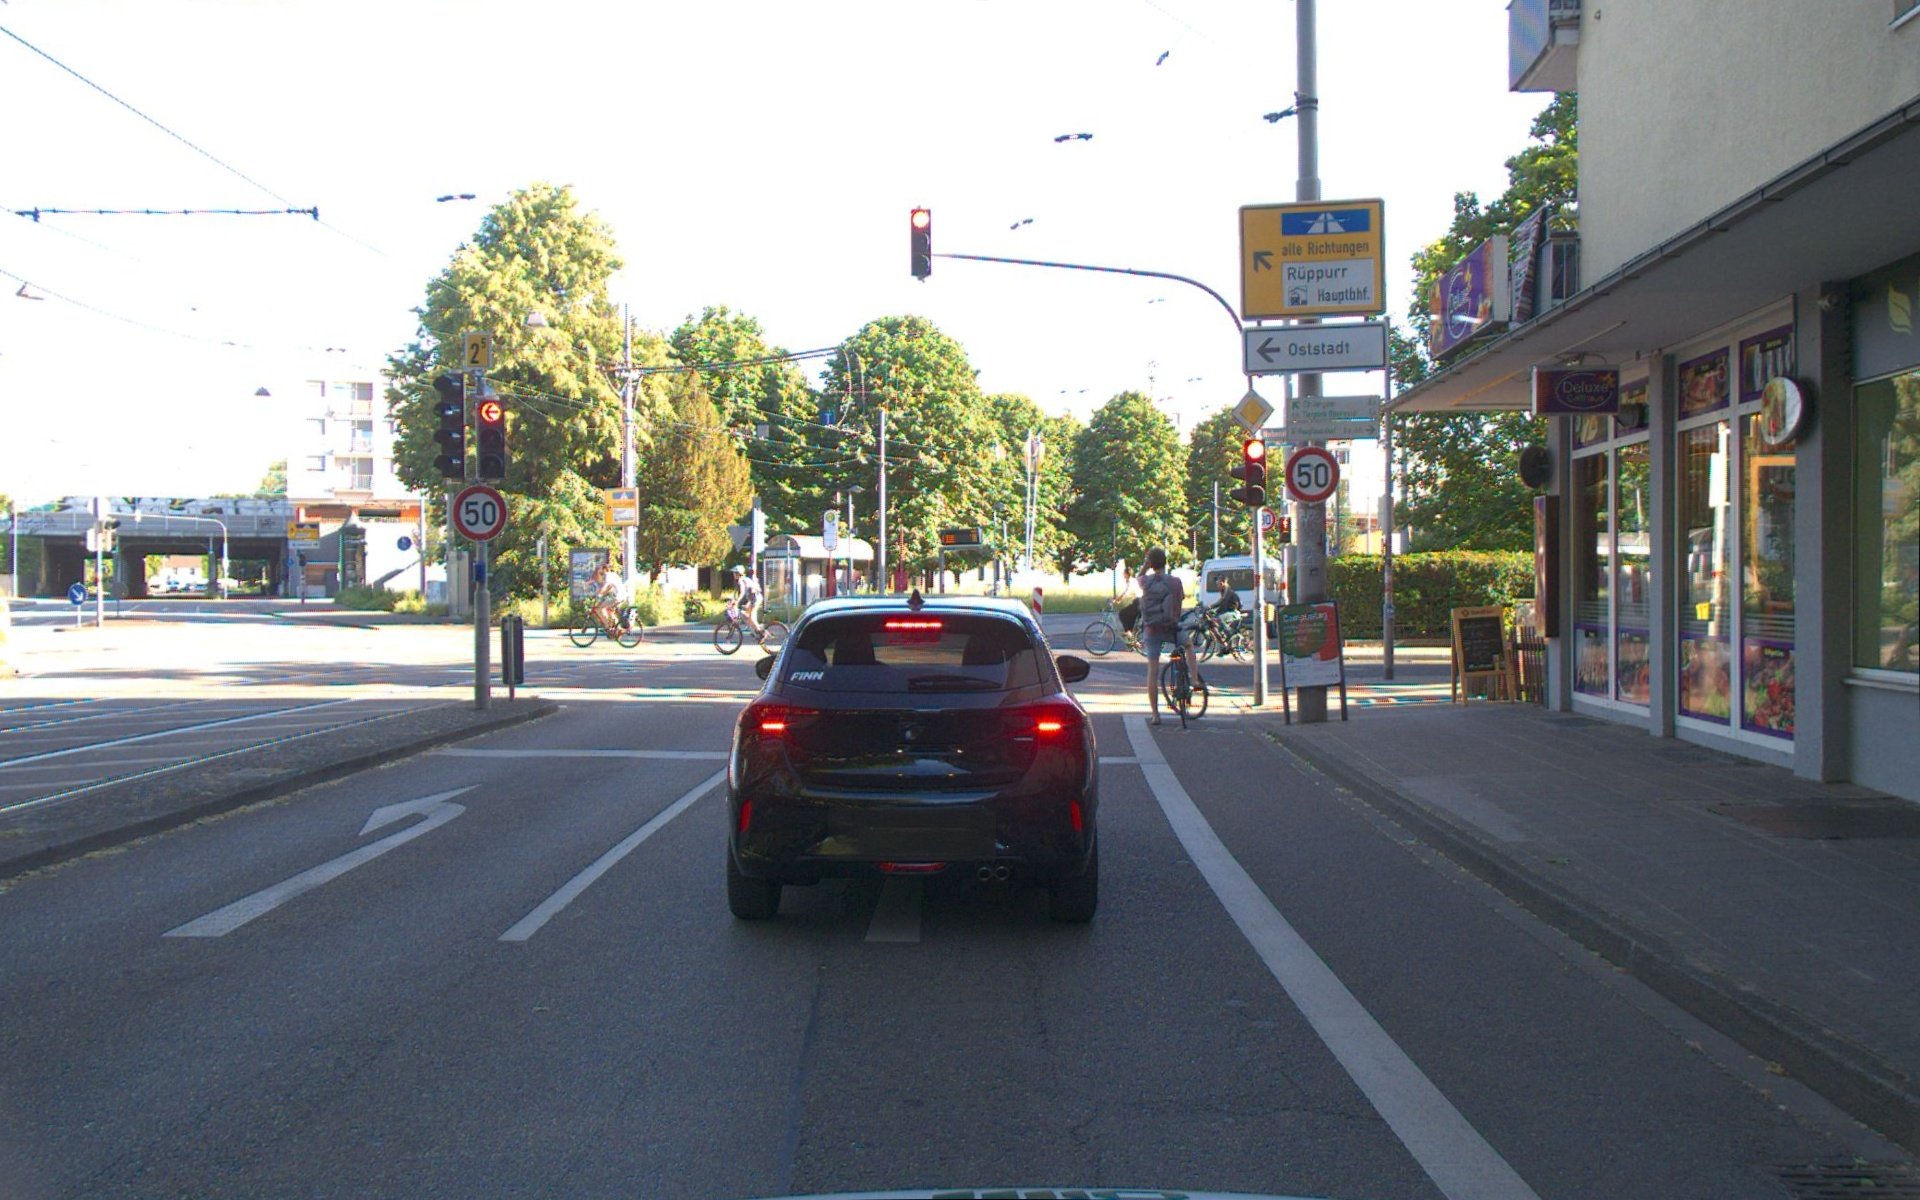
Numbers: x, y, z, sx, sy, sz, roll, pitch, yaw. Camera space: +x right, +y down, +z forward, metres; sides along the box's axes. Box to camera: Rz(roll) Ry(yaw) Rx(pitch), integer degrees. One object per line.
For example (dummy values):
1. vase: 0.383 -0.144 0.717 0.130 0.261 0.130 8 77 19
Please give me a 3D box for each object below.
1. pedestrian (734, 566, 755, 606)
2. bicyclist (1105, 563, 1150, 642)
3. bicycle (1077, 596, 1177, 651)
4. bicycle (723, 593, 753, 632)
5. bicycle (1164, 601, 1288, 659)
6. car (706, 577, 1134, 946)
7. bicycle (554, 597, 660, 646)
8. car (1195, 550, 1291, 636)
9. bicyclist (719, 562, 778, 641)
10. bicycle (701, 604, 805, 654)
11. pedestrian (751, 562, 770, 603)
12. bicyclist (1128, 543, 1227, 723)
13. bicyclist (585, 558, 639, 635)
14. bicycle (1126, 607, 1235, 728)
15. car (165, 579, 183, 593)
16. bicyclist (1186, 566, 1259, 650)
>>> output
1. pedestrian: -9.051 -0.592 69.465 0.735 1.658 0.598 1 0 6
2. bicyclist: 3.504 0.046 34.554 0.843 1.623 0.650 0 0 13
3. bicycle: 3.493 0.490 34.556 2.011 1.113 0.593 0 0 13
4. bicycle: -6.207 0.341 46.383 0.593 1.049 1.982 0 1 -1
5. bicycle: 5.006 0.554 31.138 2.153 1.051 0.831 -1 0 -14
6. car: -0.178 0.627 8.672 1.692 1.454 4.187 1 0 -1
7. bicycle: -8.093 0.491 37.938 2.244 1.103 0.801 0 0 12
8. car: 8.022 -0.208 46.587 2.020 2.288 4.890 0 1 17
9. bicyclist: -4.334 0.024 33.905 0.988 1.598 0.800 0 0 10
10. bicycle: -4.238 0.589 33.918 2.014 1.001 0.673 0 0 10
11. pedestrian: -8.385 -0.733 69.468 0.623 1.658 0.572 1 0 6
12. bicyclist: 2.327 0.343 17.807 0.922 1.883 0.864 -1 0 -1
13. bicyclist: -7.973 -0.076 37.921 0.907 1.737 0.876 0 0 11
14. bicycle: 2.348 0.691 17.883 0.842 1.173 2.171 -1 1 -1
15. car: -107.189 -1.907 225.585 2.186 1.855 4.112 -1 1 -26
16. bicyclist: 4.926 0.134 31.100 1.094 1.547 0.918 -1 0 -14
